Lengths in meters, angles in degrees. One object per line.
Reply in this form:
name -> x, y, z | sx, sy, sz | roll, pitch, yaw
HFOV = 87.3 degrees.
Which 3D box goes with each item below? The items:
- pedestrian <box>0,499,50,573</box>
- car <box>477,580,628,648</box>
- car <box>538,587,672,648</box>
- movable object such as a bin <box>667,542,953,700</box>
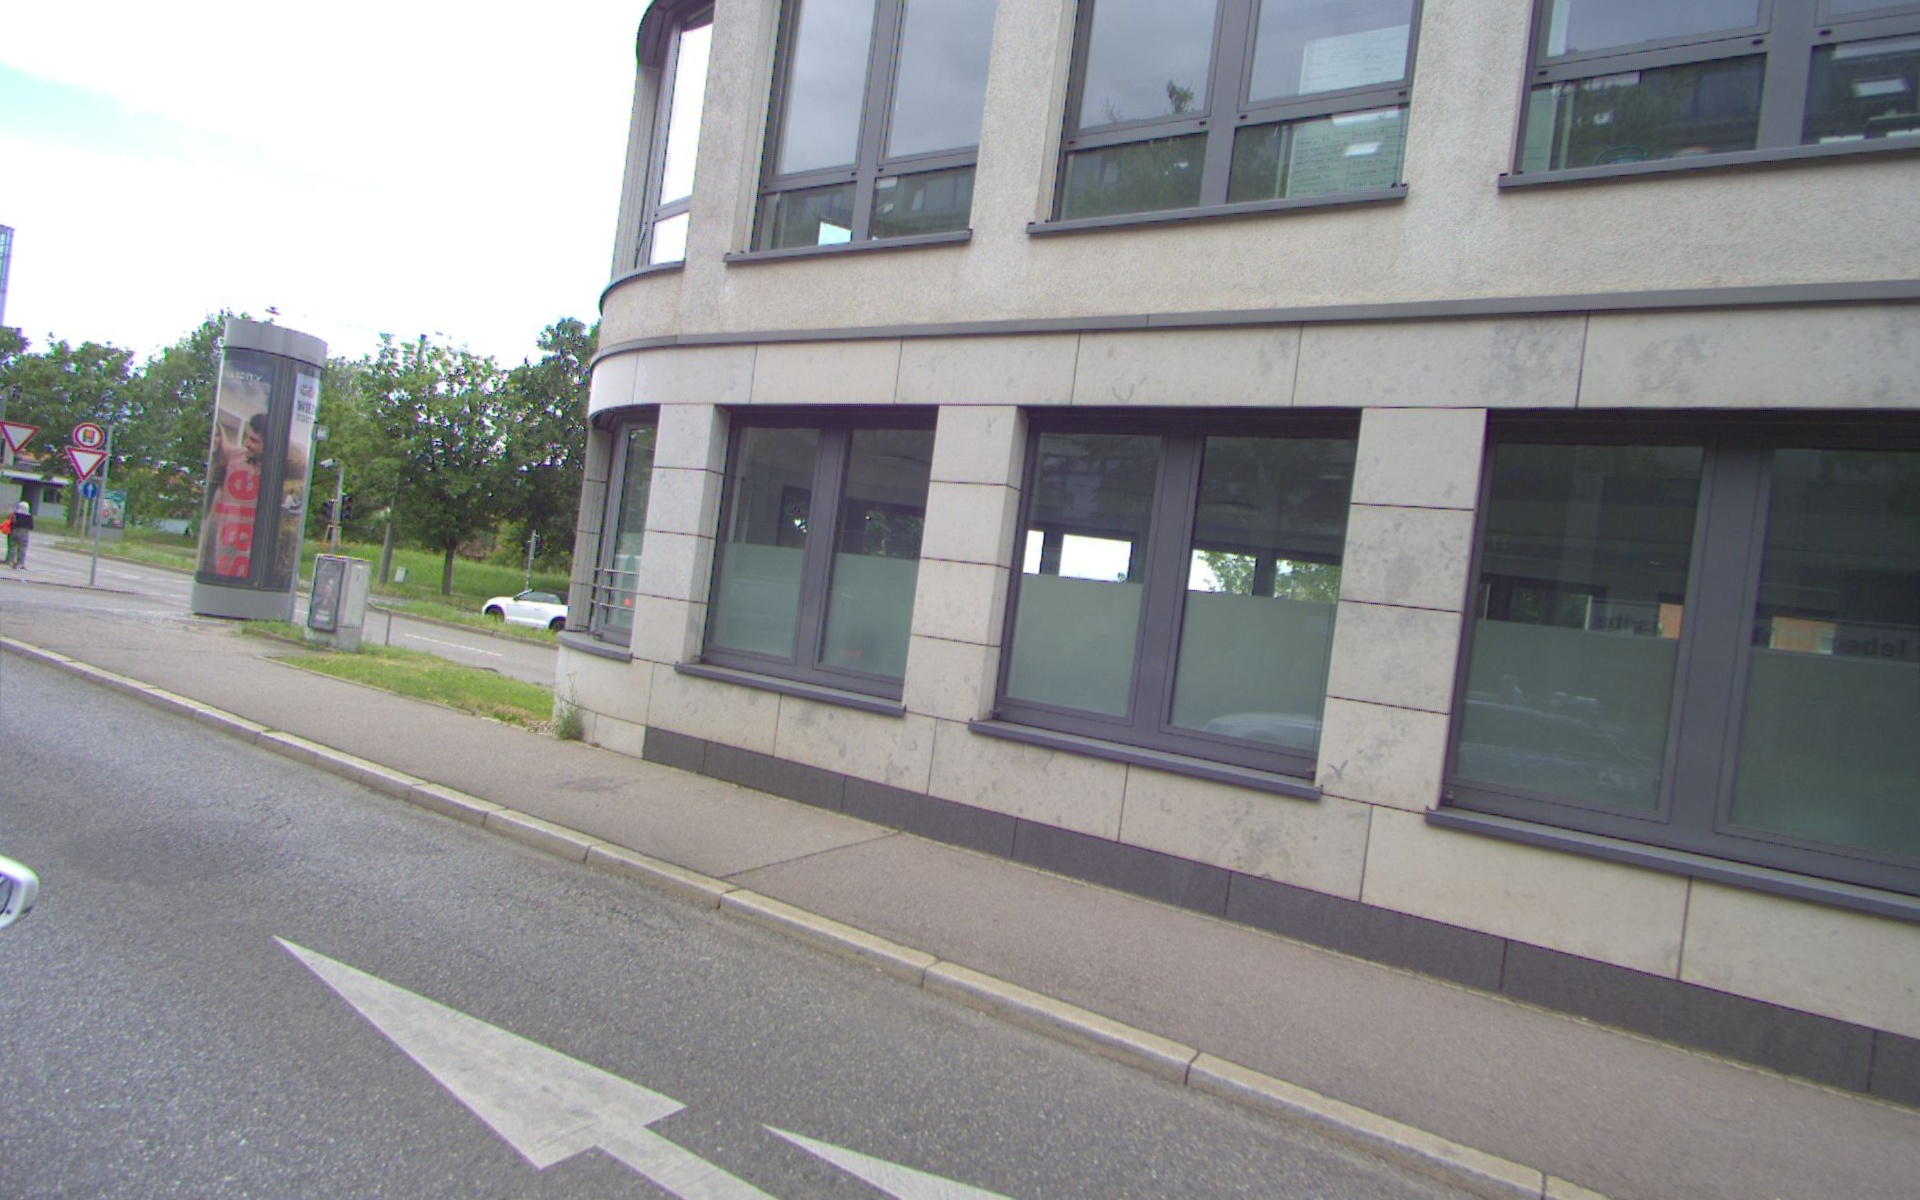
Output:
pedestrian -> -22.356, -1.504, 23.915 | 0.564, 1.602, 0.739 | 9, -2, -8
car -> -12.959, 0.452, 32.045 | 3.925, 1.469, 2.003 | 8, -3, 18
car -> -12.577, 0.641, 35.674 | 3.925, 1.469, 2.003 | 8, -3, 18
movable object such as a bin -> -4.861, 0.640, 32.658 | 8.410, 3.949, 2.870 | 7, -1, 18
